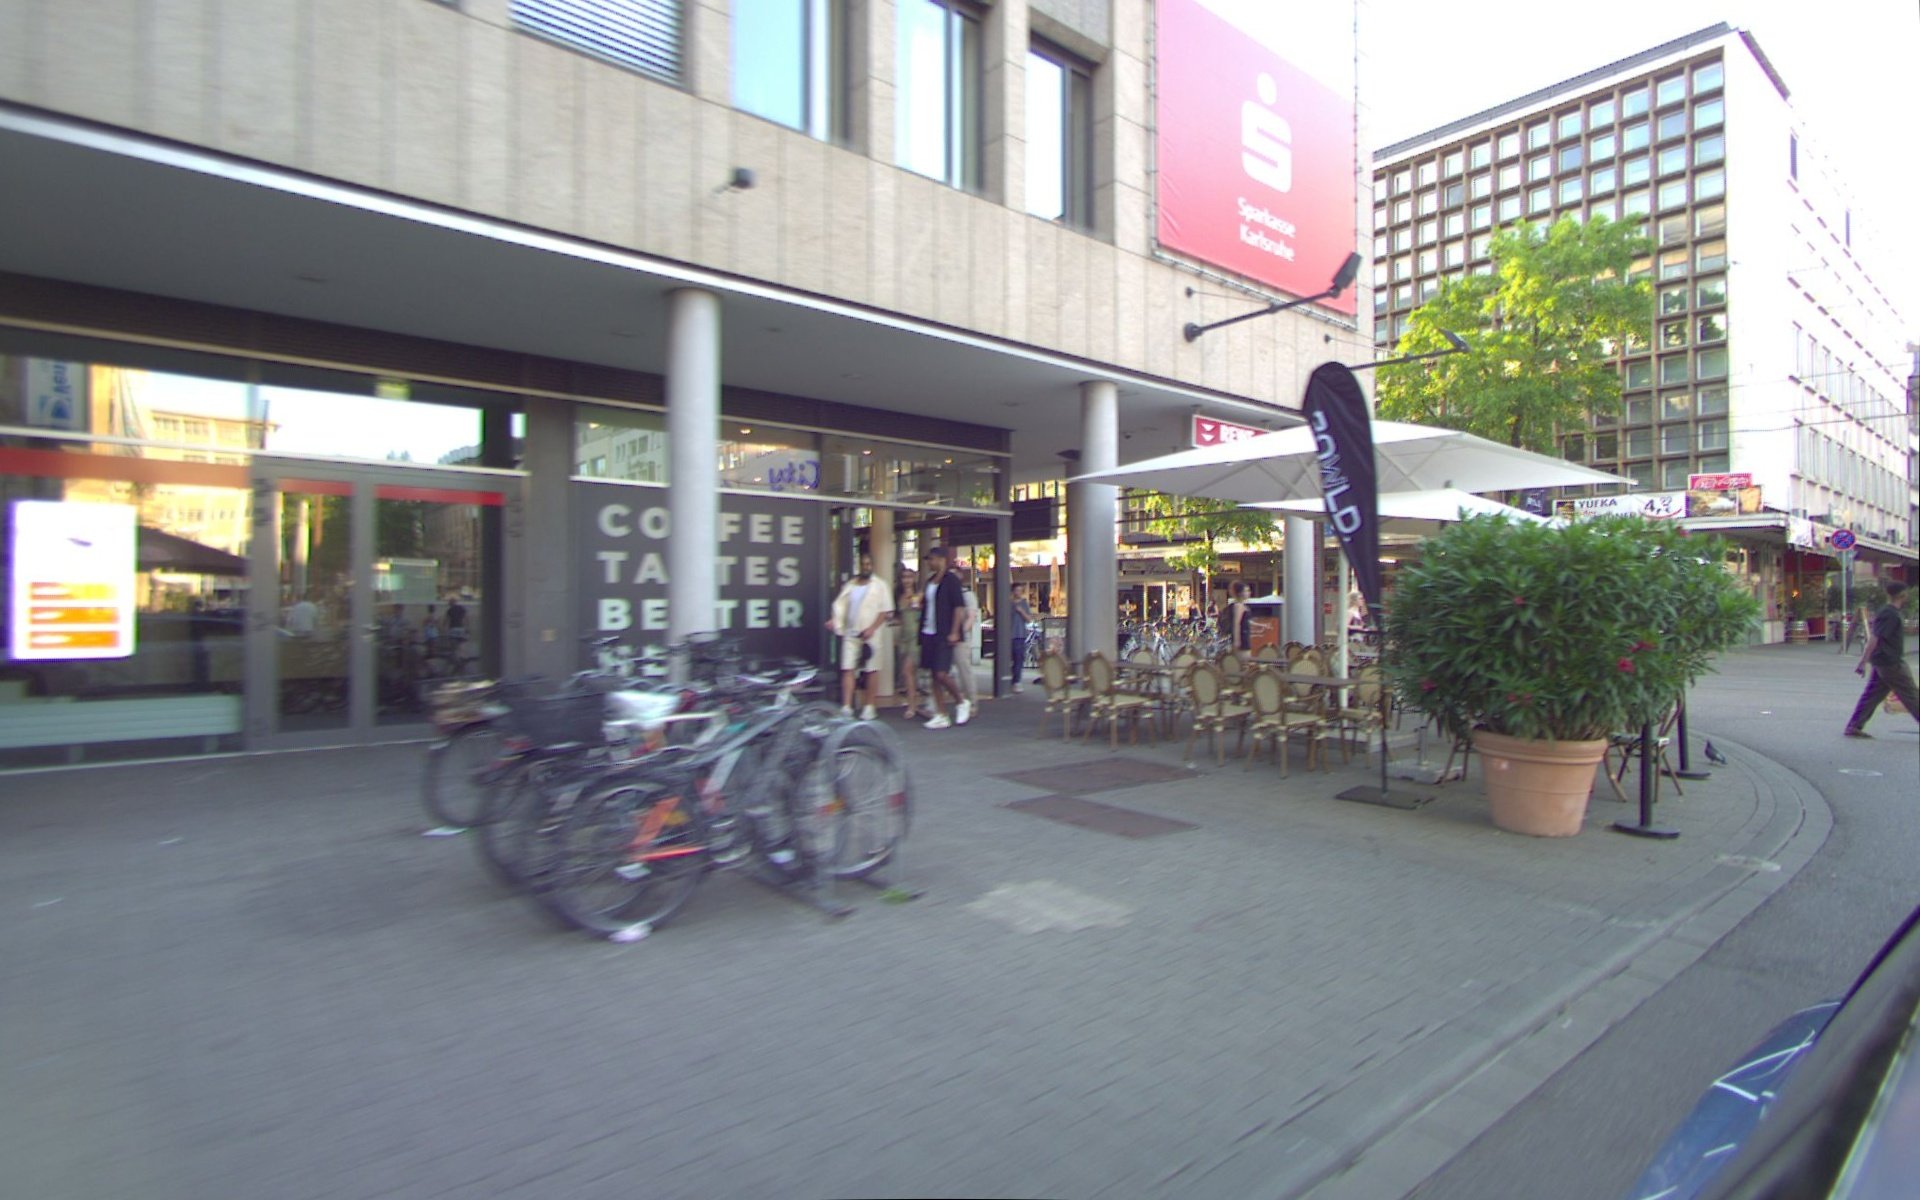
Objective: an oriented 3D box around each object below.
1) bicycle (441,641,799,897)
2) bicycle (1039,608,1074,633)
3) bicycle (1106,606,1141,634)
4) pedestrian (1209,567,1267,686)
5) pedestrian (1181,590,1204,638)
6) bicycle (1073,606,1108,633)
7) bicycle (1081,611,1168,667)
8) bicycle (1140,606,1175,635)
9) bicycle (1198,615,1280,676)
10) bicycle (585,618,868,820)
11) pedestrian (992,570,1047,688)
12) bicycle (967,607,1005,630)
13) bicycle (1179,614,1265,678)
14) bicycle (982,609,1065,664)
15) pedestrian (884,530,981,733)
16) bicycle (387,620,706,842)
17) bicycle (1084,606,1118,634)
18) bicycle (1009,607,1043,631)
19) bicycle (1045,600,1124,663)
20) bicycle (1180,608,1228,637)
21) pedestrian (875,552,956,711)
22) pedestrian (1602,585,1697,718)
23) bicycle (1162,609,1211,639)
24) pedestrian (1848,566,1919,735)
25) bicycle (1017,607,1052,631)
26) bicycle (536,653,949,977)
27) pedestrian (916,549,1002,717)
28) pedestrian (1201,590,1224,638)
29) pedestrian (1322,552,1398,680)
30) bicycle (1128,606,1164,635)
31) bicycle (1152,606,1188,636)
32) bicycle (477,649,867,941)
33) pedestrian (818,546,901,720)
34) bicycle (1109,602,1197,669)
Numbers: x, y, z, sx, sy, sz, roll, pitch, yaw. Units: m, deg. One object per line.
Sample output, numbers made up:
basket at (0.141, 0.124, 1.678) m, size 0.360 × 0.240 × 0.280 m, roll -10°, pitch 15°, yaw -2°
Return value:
bicycle at (-1.696, 0.775, 5.204) m, size 1.654 × 1.054 × 0.560 m, roll 0°, pitch 1°, yaw -39°
bicycle at (4.238, 0.890, 44.291) m, size 0.488 × 1.002 × 1.749 m, roll -3°, pitch -1°, yaw 45°
bicycle at (6.811, 0.829, 42.005) m, size 0.488 × 1.084 × 1.749 m, roll -2°, pitch 0°, yaw 45°
pedestrian at (4.245, 0.399, 15.447) m, size 0.626 × 1.754 × 0.616 m, roll 1°, pitch -2°, yaw -41°
pedestrian at (8.509, 0.522, 37.036) m, size 0.590 × 1.721 × 0.537 m, roll -1°, pitch -1°, yaw -10°
bicycle at (5.611, 0.836, 43.369) m, size 0.488 × 1.084 × 1.749 m, roll -2°, pitch 0°, yaw 45°
bicycle at (3.334, 0.792, 20.413) m, size 1.889 × 1.092 × 0.761 m, roll 3°, pitch -3°, yaw -44°
bicycle at (7.942, 0.824, 40.653) m, size 0.488 × 1.084 × 1.749 m, roll -2°, pitch 0°, yaw 45°
bicycle at (5.391, 0.860, 19.510) m, size 1.826 × 1.123 × 0.665 m, roll 2°, pitch -2°, yaw -42°
bicycle at (-1.495, 0.713, 6.711) m, size 1.781 × 1.131 × 0.546 m, roll 0°, pitch 1°, yaw -41°
pedestrian at (0.913, 0.440, 15.470) m, size 0.562 × 1.754 × 0.616 m, roll 2°, pitch -2°, yaw -40°
bicycle at (1.250, 0.861, 47.959) m, size 1.741 × 0.978 × 0.490 m, roll -2°, pitch 1°, yaw -23°
bicycle at (4.858, 0.836, 18.698) m, size 1.826 × 1.123 × 0.665 m, roll 2°, pitch -2°, yaw -42°
bicycle at (1.449, 0.820, 22.662) m, size 1.969 × 1.170 × 0.723 m, roll 3°, pitch -3°, yaw -44°
pedestrian at (-0.288, 0.321, 10.643) m, size 0.676 × 2.039 × 0.782 m, roll 2°, pitch -2°, yaw -39°
bicycle at (-2.495, 0.721, 6.290) m, size 0.544 × 1.131 × 1.785 m, roll 1°, pitch 1°, yaw 41°
bicycle at (5.991, 0.834, 42.935) m, size 0.488 × 1.084 × 1.749 m, roll -2°, pitch 0°, yaw 45°
bicycle at (3.011, 0.858, 45.793) m, size 0.488 × 1.002 × 1.749 m, roll -3°, pitch -1°, yaw 45°
bicycle at (2.799, 0.717, 22.558) m, size 1.889 × 1.350 × 0.723 m, roll 3°, pitch -3°, yaw -44°
bicycle at (9.102, 0.855, 37.840) m, size 0.481 × 1.058 × 1.774 m, roll 0°, pitch -1°, yaw -42°
pedestrian at (-0.531, 0.367, 12.000) m, size 0.653 × 1.810 × 0.718 m, roll 2°, pitch -2°, yaw -39°
pedestrian at (8.441, 0.612, 12.393) m, size 0.791 × 1.556 × 0.808 m, roll 2°, pitch -2°, yaw -44°
bicycle at (8.230, 0.871, 36.874) m, size 0.481 × 1.058 × 1.774 m, roll 0°, pitch -1°, yaw -42°
pedestrian at (9.973, 0.506, 10.586) m, size 0.993 × 1.719 × 0.761 m, roll -2°, pitch -1°, yaw 42°
bicycle at (3.351, 0.856, 45.389) m, size 0.488 × 1.002 × 1.749 m, roll -3°, pitch -1°, yaw 45°
bicycle at (-0.872, 0.804, 4.335) m, size 1.654 × 1.054 × 0.560 m, roll 0°, pitch 1°, yaw -39°
pedestrian at (-0.017, 0.364, 11.414) m, size 0.653 × 1.810 × 0.718 m, roll 2°, pitch -2°, yaw -39°
pedestrian at (9.210, 0.514, 36.906) m, size 0.590 × 1.721 × 0.537 m, roll -1°, pitch -1°, yaw -10°
pedestrian at (5.851, 0.231, 14.808) m, size 0.762 × 1.795 × 0.773 m, roll 2°, pitch -2°, yaw -40°
bicycle at (7.556, 0.826, 41.040) m, size 0.488 × 1.084 × 1.749 m, roll -2°, pitch 0°, yaw 45°
bicycle at (8.346, 0.822, 40.141) m, size 0.488 × 1.084 × 1.749 m, roll -2°, pitch 0°, yaw 45°
bicycle at (-1.279, 0.798, 4.701) m, size 1.654 × 1.054 × 0.560 m, roll 0°, pitch 1°, yaw -39°
pedestrian at (-1.130, 0.360, 11.334) m, size 0.652 × 1.872 × 0.719 m, roll 1°, pitch -1°, yaw -34°
bicycle at (3.802, 0.702, 19.835) m, size 1.889 × 1.238 × 0.761 m, roll 3°, pitch -3°, yaw -44°
